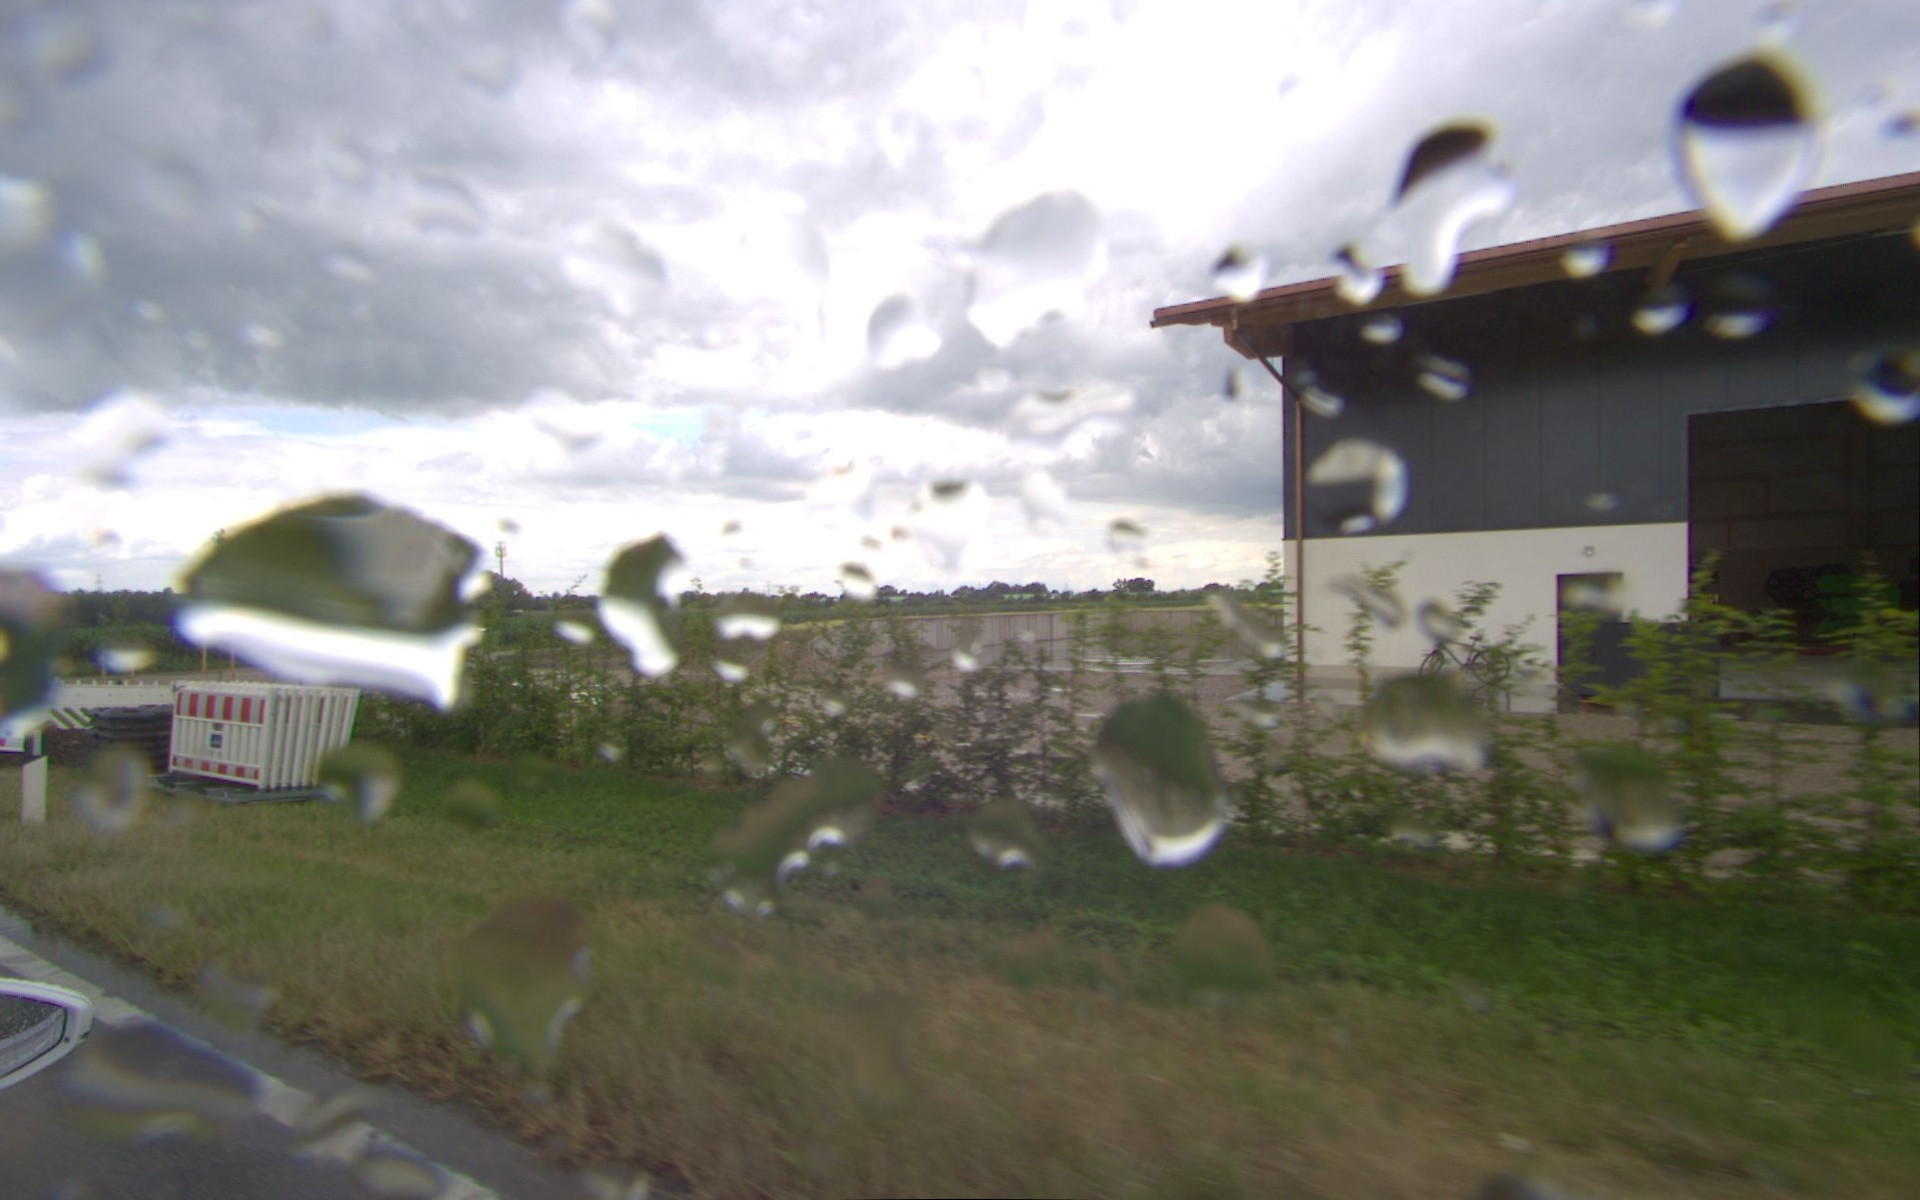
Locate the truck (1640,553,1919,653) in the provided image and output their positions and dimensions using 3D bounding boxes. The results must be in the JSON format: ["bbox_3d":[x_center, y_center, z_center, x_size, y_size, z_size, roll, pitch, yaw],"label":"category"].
[{"bbox_3d":[23.490,0.121,29.126,6.069,2.642,2.112,-1,0,33],"label":"truck"}]

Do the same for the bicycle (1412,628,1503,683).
[{"bbox_3d":[10.158,1.114,20.471,1.637,1.086,0.389,-1,1,33],"label":"bicycle"}]
